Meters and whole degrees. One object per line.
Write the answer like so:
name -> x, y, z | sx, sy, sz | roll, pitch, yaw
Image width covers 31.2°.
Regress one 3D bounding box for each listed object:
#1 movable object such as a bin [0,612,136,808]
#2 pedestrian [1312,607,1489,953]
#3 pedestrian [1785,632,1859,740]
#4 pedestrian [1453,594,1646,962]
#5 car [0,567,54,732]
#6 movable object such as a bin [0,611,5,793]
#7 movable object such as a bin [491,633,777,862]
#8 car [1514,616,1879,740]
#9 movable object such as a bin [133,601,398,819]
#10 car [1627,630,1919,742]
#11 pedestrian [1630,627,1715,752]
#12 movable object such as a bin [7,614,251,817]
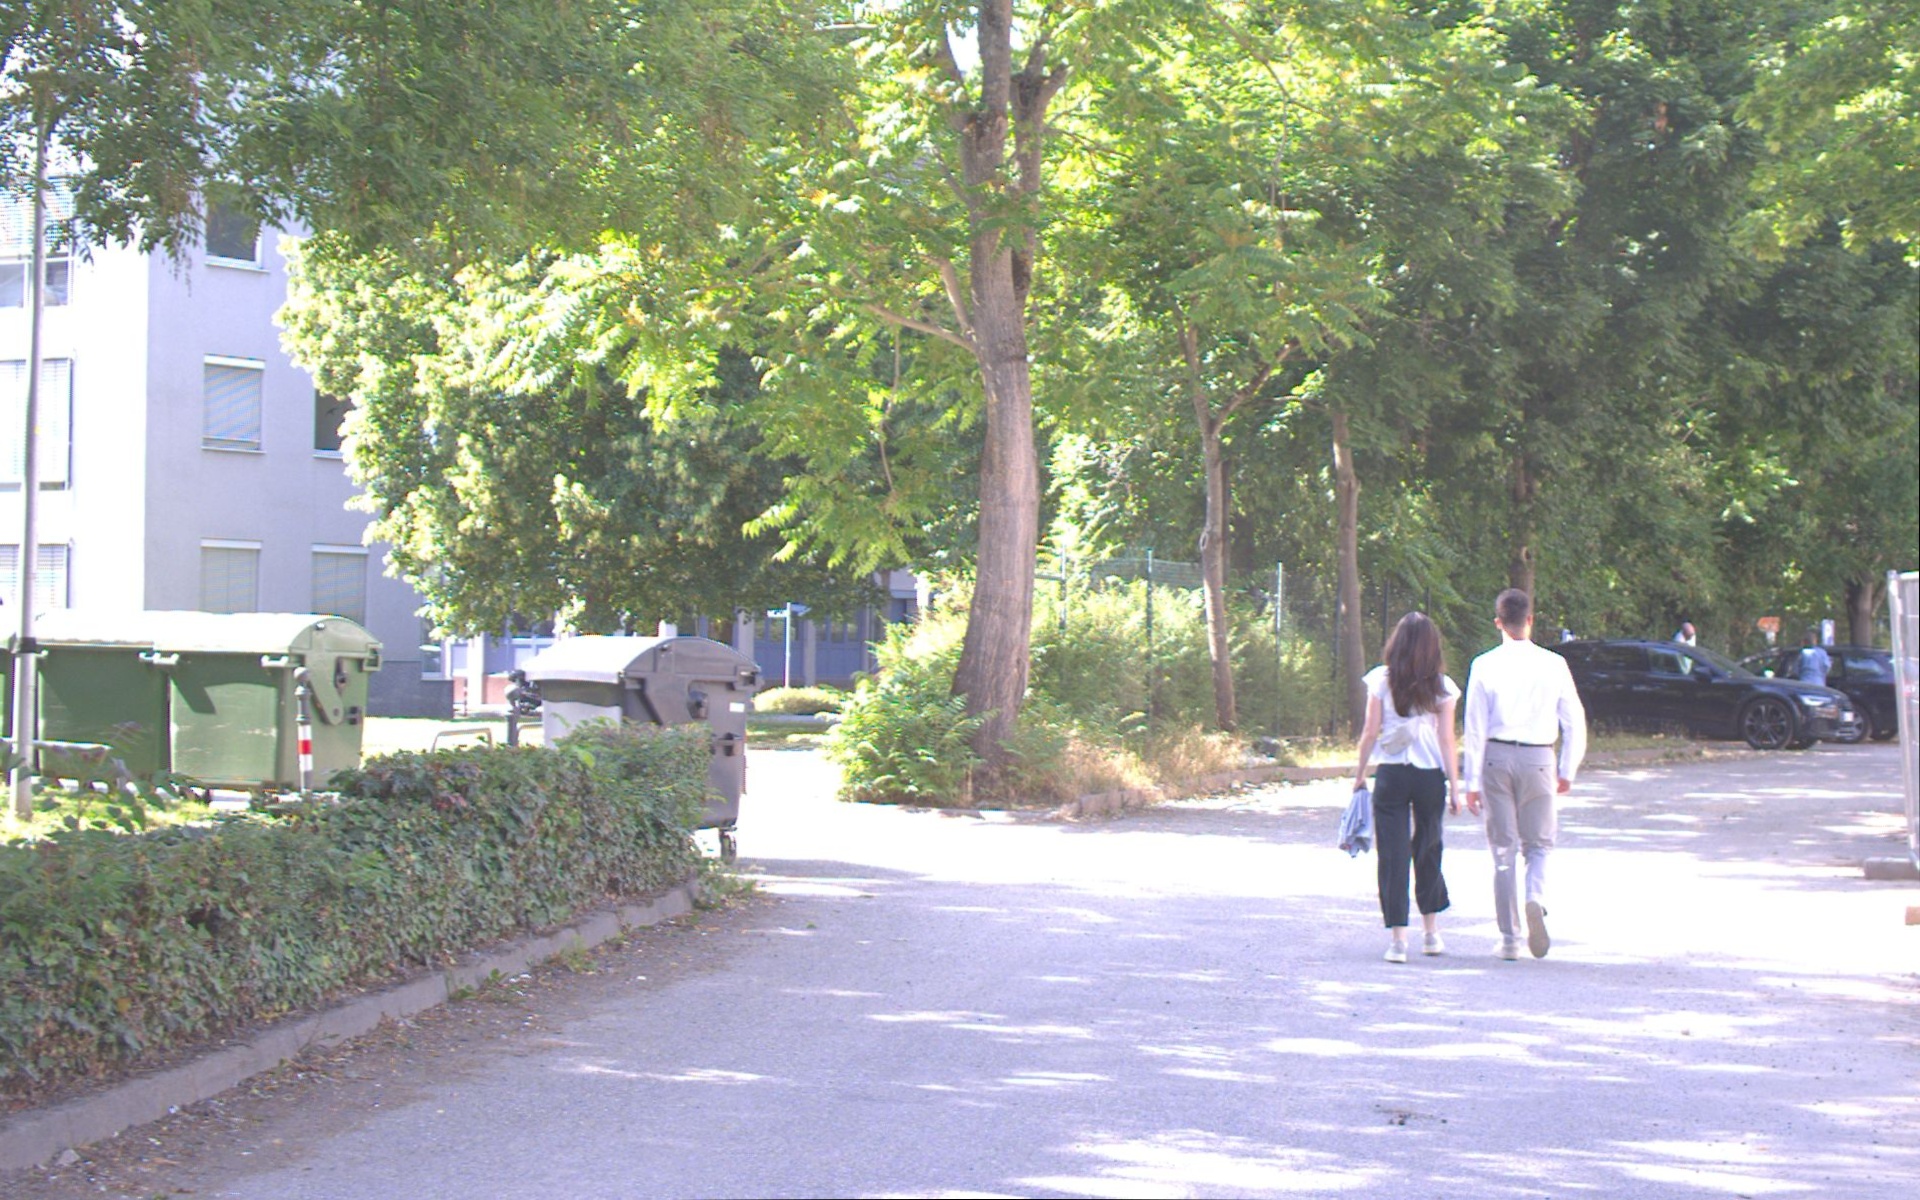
movable object such as a bin -> -7.180, 0.805, 25.963 | 1.364, 1.426, 1.246 | 0, -1, 33
pedestrian -> 2.147, 0.860, 16.818 | 0.735, 1.634, 0.781 | 1, 0, -1
pedestrian -> 13.016, 1.289, 51.894 | 0.926, 1.590, 0.785 | 1, 0, 25
pedestrian -> 2.845, 0.841, 16.663 | 0.755, 1.722, 0.854 | 1, 0, -1
car -> -13.024, 0.536, 39.288 | 1.997, 1.926, 5.030 | 0, -1, 35
movable object such as a bin -> -8.413, 0.791, 26.835 | 1.348, 1.426, 1.246 | 0, -1, 33
movable object such as a bin -> -2.094, 0.920, 22.013 | 1.244, 1.392, 1.404 | 1, -1, -38
car -> 10.329, 1.059, 48.240 | 4.662, 1.579, 1.997 | 1, 1, 25
movable object such as a bin -> -4.906, 0.759, 24.341 | 1.336, 1.476, 1.246 | 0, -1, 28
car -> 12.950, 1.315, 53.534 | 4.662, 1.579, 1.997 | 1, 1, 25
pedestrian -> 10.369, 1.290, 50.021 | 1.015, 1.775, 0.819 | 1, -1, 25
movable object such as a bin -> -6.063, 0.825, 25.140 | 1.221, 1.426, 1.247 | 0, -1, 23
